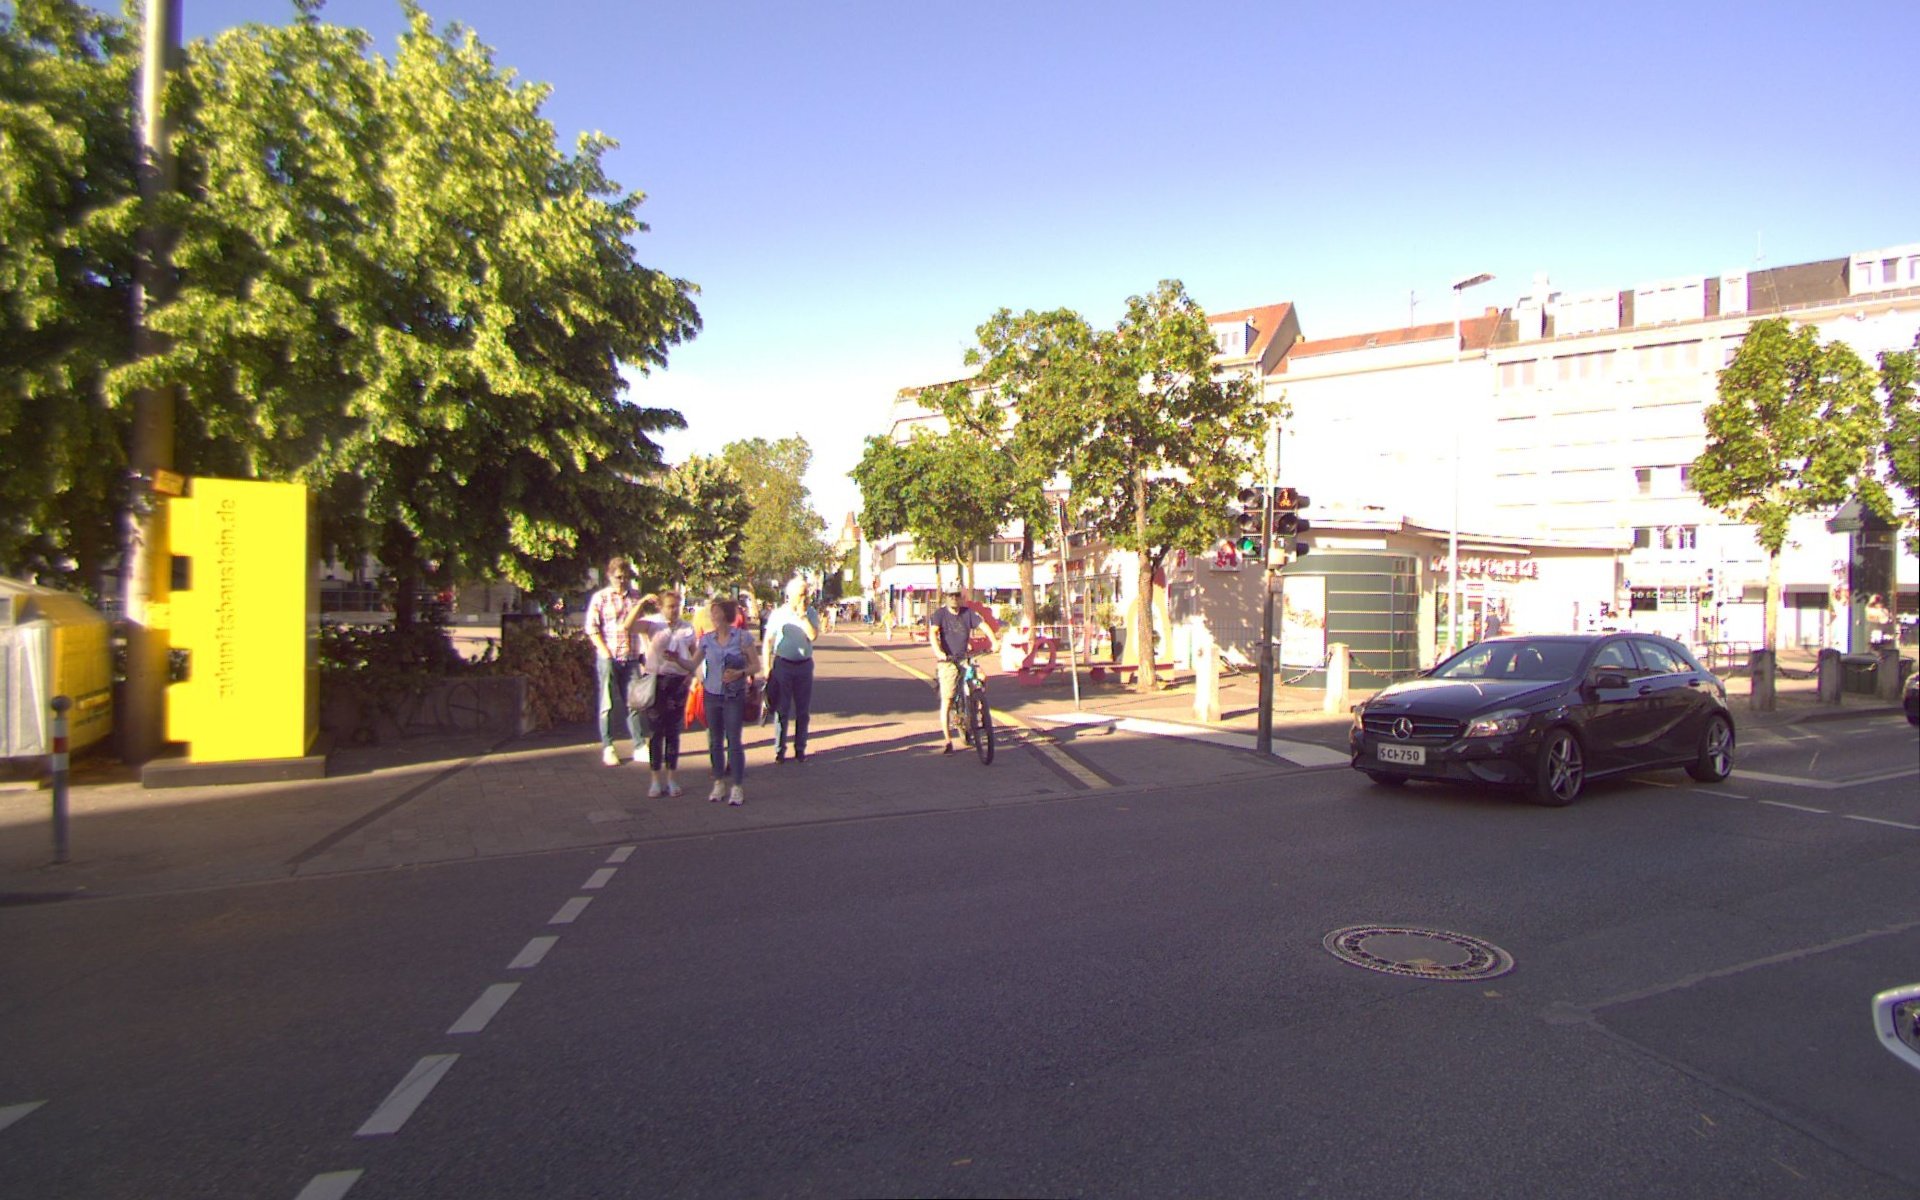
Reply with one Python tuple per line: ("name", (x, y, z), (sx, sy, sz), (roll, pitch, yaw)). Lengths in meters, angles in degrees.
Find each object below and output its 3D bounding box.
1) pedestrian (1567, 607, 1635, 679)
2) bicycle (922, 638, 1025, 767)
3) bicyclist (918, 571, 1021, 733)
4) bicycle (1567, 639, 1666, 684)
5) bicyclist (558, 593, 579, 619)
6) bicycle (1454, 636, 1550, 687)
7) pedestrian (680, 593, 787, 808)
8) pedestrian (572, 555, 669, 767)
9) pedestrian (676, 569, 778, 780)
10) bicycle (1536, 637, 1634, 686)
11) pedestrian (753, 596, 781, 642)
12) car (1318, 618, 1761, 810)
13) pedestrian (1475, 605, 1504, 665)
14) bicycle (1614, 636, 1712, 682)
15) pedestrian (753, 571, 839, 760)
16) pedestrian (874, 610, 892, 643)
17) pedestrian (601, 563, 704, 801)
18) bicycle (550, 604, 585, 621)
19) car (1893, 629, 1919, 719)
("pedestrian", (15.907, 1.057, 24.946), (0.888, 1.720, 1.082), (1, 0, -16))
("bicycle", (0.088, 1.037, 10.809), (0.750, 1.086, 2.172), (1, 2, -8))
("bicyclist", (0.088, 0.546, 10.865), (0.975, 1.670, 0.804), (1, 0, -8))
("bicycle", (16.421, 1.511, 25.196), (0.873, 1.015, 2.012), (1, -1, -15))
("bicyclist", (-20.739, 0.319, 53.239), (0.427, 1.363, 0.910), (1, 0, 35))
("bicycle", (12.223, 1.369, 22.721), (0.754, 1.016, 1.881), (1, 0, -21))
("pedestrian", (-1.857, 0.800, 8.311), (0.683, 1.696, 0.688), (1, 0, 2))
("pedestrian", (-3.265, 0.564, 9.658), (0.774, 1.944, 0.605), (1, 0, -28))
("pedestrian", (-2.122, 0.652, 9.204), (0.577, 1.836, 0.784), (1, 0, 16))
("bicycle", (14.645, 1.421, 23.593), (0.754, 1.016, 1.881), (1, 0, -21))
("pedestrian", (-6.983, 0.687, 36.281), (0.859, 1.617, 1.072), (1, 0, -17))
("car", (5.497, 0.940, 9.420), (4.205, 1.442, 1.741), (1, -3, -31))
("pedestrian", (15.499, 1.012, 29.388), (0.604, 1.732, 0.516), (1, -1, -30))
("bicycle", (18.393, 1.523, 26.316), (0.744, 1.102, 1.980), (1, 0, -28))
("pedestrian", (-1.662, 0.640, 10.138), (0.771, 1.836, 0.587), (1, 0, -16))
("pedestrian", (-3.746, 1.277, 49.097), (0.863, 1.606, 1.158), (1, 0, -4))
("pedestrian", (-2.523, 0.650, 8.305), (0.612, 1.882, 0.652), (1, 0, 2))
("bicycle", (-20.774, 0.680, 53.208), (0.516, 0.882, 1.708), (1, 0, 34))
("car", (16.958, 1.170, 16.251), (3.995, 1.416, 1.643), (1, -2, -30))
